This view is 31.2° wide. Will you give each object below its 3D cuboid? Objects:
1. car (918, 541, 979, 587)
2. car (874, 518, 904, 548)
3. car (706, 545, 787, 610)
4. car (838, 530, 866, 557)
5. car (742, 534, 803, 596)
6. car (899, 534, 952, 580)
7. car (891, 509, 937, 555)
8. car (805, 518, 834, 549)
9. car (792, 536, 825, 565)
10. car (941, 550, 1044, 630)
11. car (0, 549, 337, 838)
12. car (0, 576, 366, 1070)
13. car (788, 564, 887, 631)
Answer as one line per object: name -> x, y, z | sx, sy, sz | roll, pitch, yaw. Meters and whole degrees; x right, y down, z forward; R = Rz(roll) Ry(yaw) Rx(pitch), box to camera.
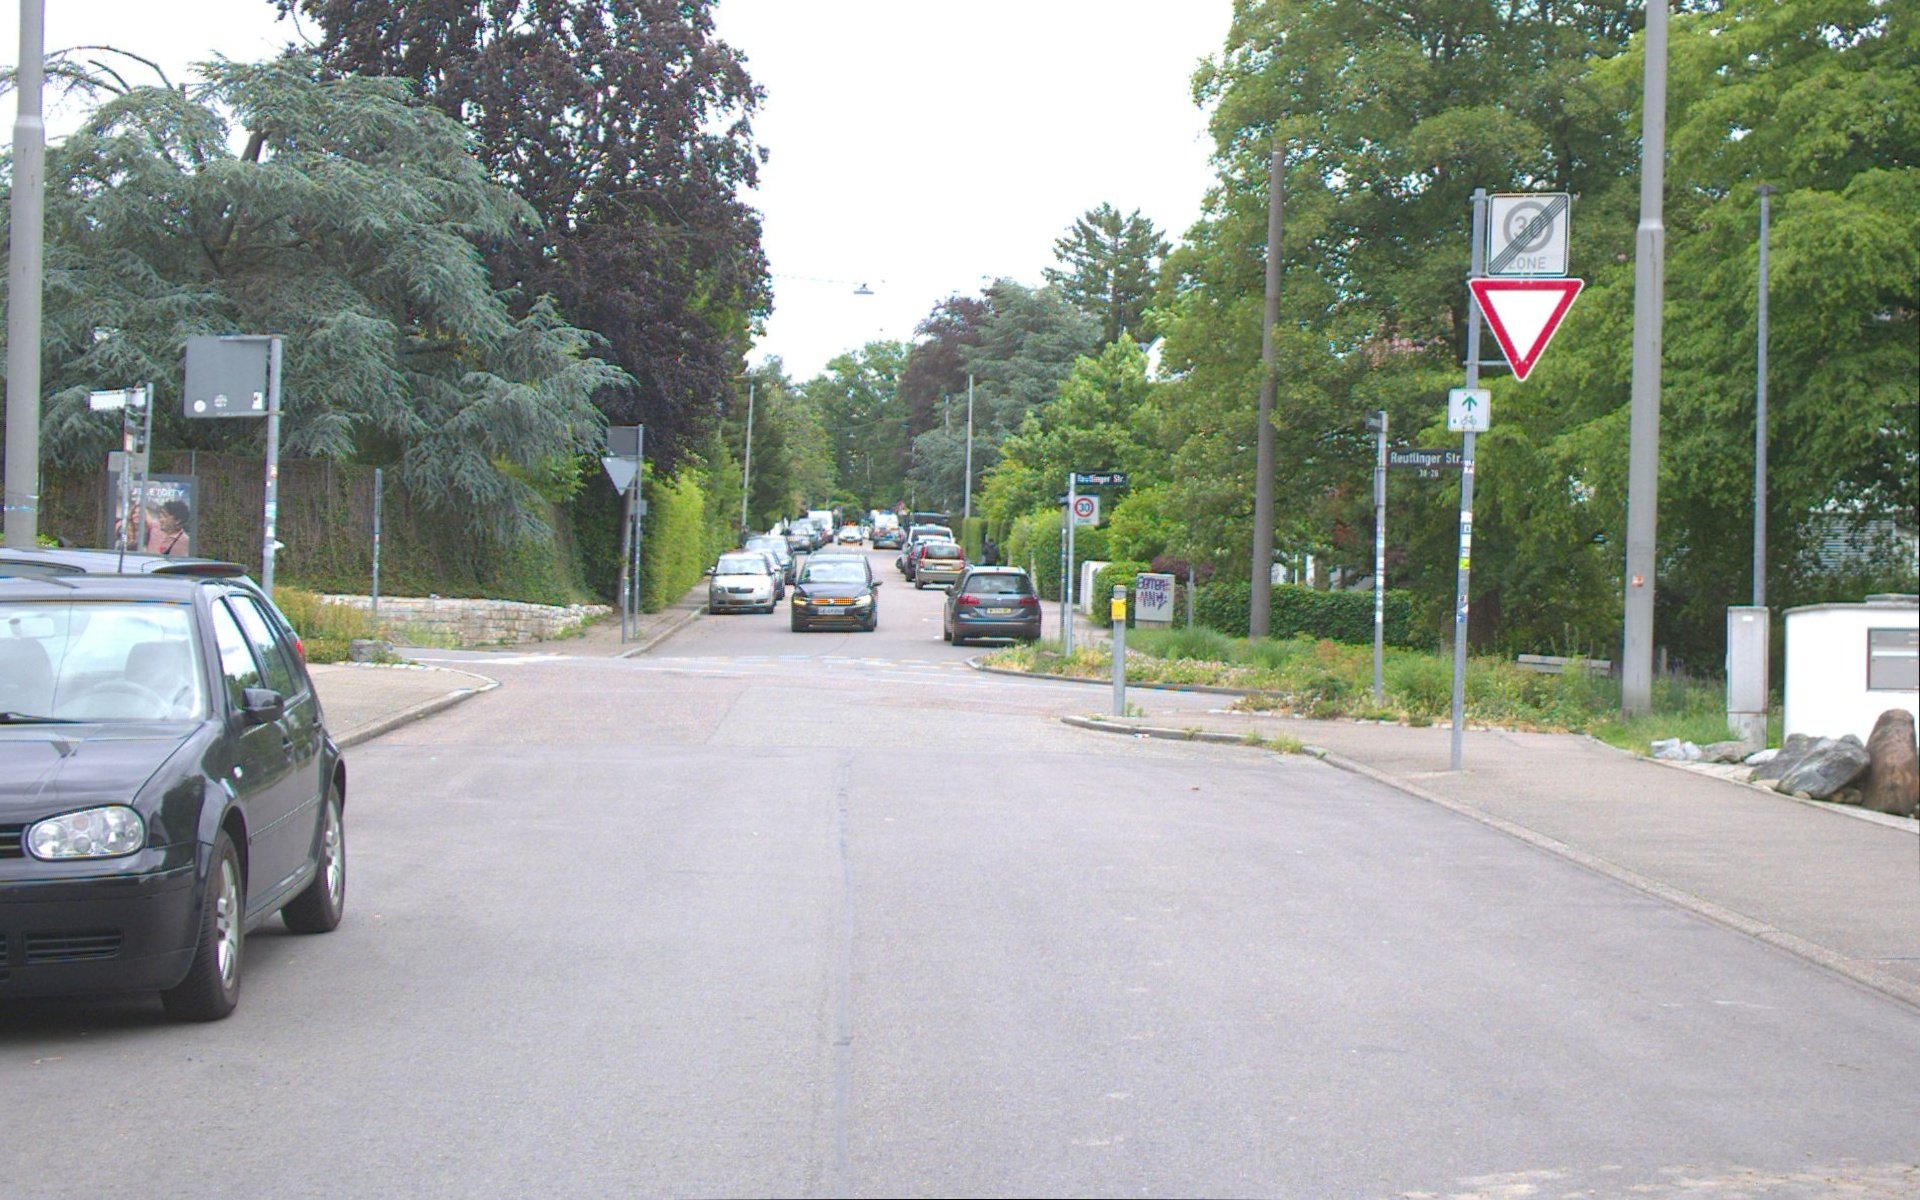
car -> -0.388, -1.171, 112.096 | 1.810, 1.331, 3.633 | 3, 2, -2
car -> -4.230, -3.988, 204.109 | 1.633, 1.695, 3.495 | 2, 1, -2
car -> -5.458, -0.594, 88.361 | 1.711, 1.580, 4.000 | 2, 1, 1
car -> -7.942, -4.124, 252.641 | 1.993, 1.875, 4.000 | 3, 1, -2
car -> -5.377, -1.033, 98.957 | 1.633, 1.695, 3.763 | 2, 1, -2
car -> -1.203, -1.512, 120.955 | 1.789, 1.524, 3.734 | 2, 1, 0
car -> -1.801, -2.646, 132.911 | 1.633, 1.695, 3.495 | 2, 1, -2
car -> -9.145, -4.303, 223.809 | 1.817, 1.875, 4.000 | 3, 1, -2
car -> -7.768, -2.559, 176.772 | 1.626, 1.381, 3.599 | 3, 1, -2
car -> 0.619, -0.223, 68.528 | 1.778, 1.484, 4.000 | 2, 1, -3
car -> -5.720, 0.443, 19.217 | 3.990, 1.439, 1.825 | 2, 1, 15
car -> -3.155, 0.646, 11.986 | 1.637, 1.390, 3.989 | -1, 1, -3
car -> -2.656, -0.062, 75.337 | 1.728, 1.402, 3.803 | 1, 1, 4
